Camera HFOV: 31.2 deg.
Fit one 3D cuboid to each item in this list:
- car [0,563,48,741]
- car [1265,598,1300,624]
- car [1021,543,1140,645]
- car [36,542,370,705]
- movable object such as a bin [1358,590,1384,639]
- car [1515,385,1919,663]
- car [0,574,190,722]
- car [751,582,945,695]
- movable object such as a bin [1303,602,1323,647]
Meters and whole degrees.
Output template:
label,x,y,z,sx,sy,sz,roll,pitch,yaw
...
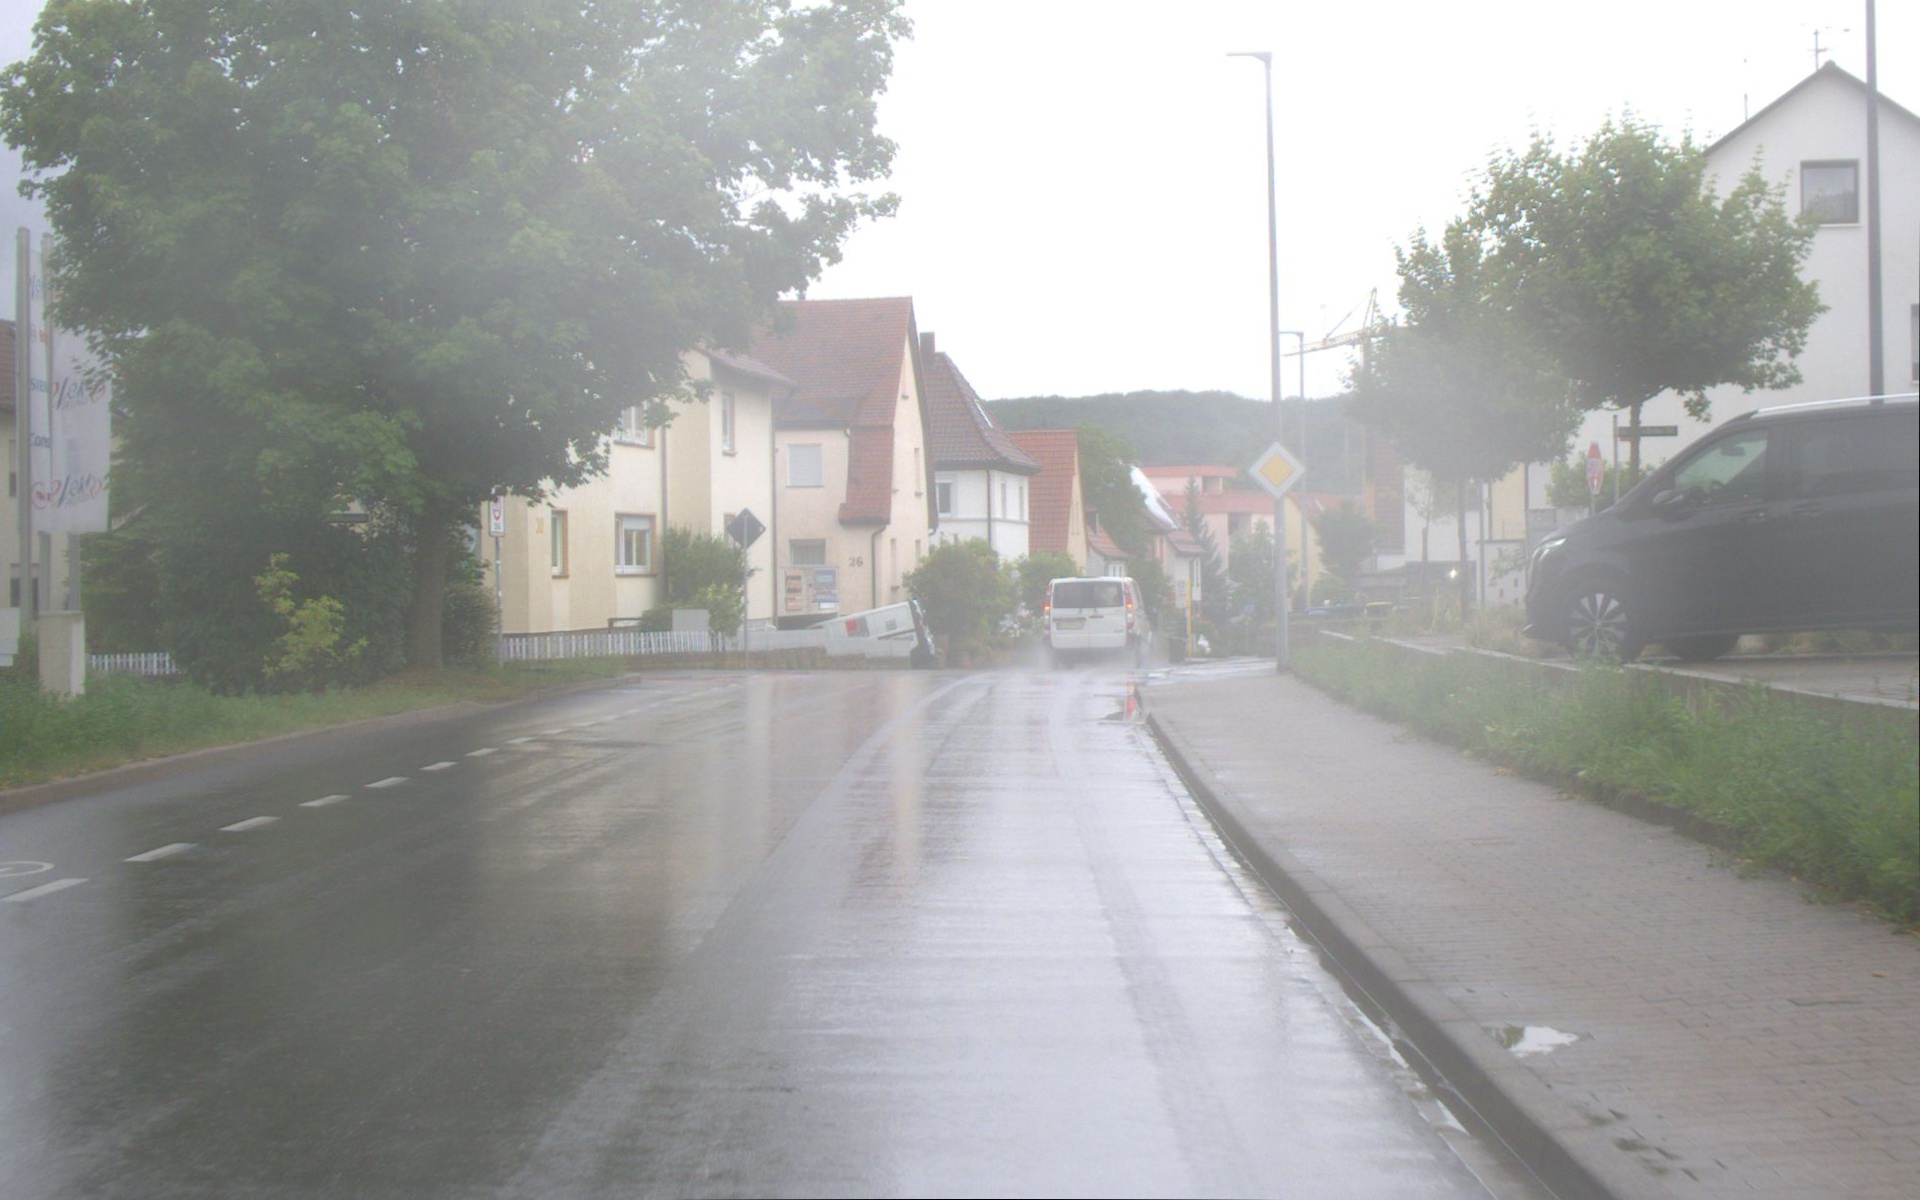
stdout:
label,x,y,z,sx,sy,sz,roll,pitch,yaw
car,-8.851,0.434,25.138,3.900,1.280,1.582,-2,0,1
car,21.868,0.747,232.877,1.843,1.573,4.287,1,2,13
car,2.450,-0.149,68.874,2.117,1.881,4.501,1,2,5
car,-7.278,0.239,33.196,2.908,1.450,1.253,-2,-2,1
movable object such as a bin,8.739,0.308,73.159,0.528,1.024,0.631,1,2,6
car,6.962,-0.573,25.784,5.110,1.913,2.049,-2,0,38
car,-8.015,0.411,28.465,2.908,1.155,1.471,-2,0,1
car,-2.957,1.021,91.548,4.555,2.006,2.159,-12,0,7
movable object such as a bin,7.524,0.527,73.242,0.425,0.937,0.508,1,2,6
